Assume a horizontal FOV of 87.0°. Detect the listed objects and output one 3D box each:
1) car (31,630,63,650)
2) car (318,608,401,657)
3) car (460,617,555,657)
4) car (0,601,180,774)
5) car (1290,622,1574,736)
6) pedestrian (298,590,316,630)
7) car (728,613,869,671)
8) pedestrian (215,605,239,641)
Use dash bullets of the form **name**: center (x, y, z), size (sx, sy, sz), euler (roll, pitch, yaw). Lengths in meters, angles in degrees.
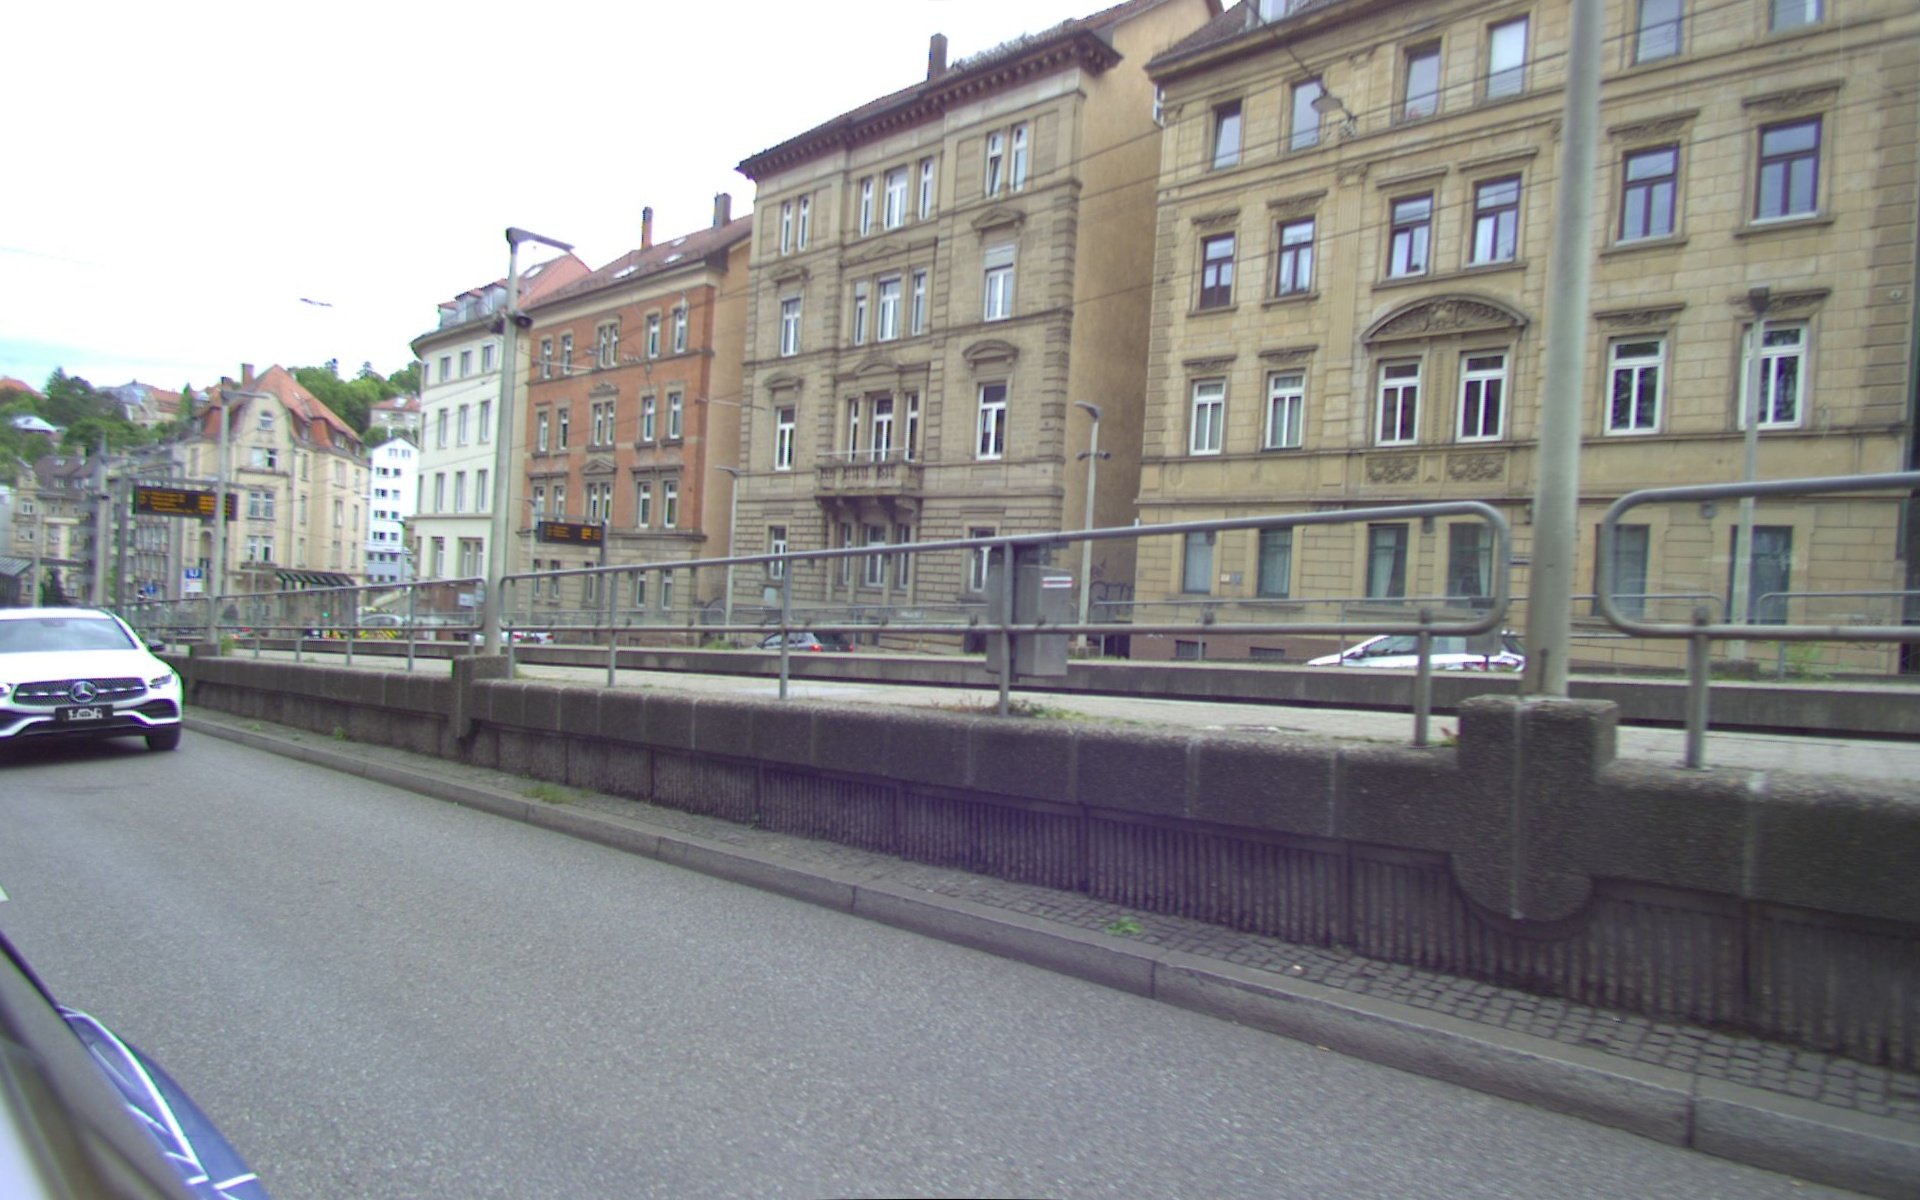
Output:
- **car**: center (-82.241, 3.560, 91.140), size (3.864, 1.778, 1.803), euler (-2, -2, 43)
- **car**: center (-30.301, 1.641, 50.976), size (5.452, 2.322, 1.973), euler (-1, -2, 41)
- **car**: center (-17.941, 1.456, 40.032), size (4.257, 1.482, 1.750), euler (-1, -1, 40)
- **car**: center (-10.741, 0.877, 11.799), size (4.669, 1.679, 1.816), euler (-1, 0, 42)
- **car**: center (7.900, 1.261, 17.137), size (3.998, 1.692, 1.915), euler (-2, -3, 41)
- **pedestrian**: center (-26.138, 0.394, 40.495), size (0.540, 1.574, 0.457), euler (-2, -2, 41)
- **car**: center (-4.648, 1.205, 28.877), size (3.998, 1.540, 1.858), euler (-2, -3, 41)
- **pedestrian**: center (-34.917, 1.097, 48.196), size (0.843, 1.701, 0.757), euler (-2, -3, 41)
